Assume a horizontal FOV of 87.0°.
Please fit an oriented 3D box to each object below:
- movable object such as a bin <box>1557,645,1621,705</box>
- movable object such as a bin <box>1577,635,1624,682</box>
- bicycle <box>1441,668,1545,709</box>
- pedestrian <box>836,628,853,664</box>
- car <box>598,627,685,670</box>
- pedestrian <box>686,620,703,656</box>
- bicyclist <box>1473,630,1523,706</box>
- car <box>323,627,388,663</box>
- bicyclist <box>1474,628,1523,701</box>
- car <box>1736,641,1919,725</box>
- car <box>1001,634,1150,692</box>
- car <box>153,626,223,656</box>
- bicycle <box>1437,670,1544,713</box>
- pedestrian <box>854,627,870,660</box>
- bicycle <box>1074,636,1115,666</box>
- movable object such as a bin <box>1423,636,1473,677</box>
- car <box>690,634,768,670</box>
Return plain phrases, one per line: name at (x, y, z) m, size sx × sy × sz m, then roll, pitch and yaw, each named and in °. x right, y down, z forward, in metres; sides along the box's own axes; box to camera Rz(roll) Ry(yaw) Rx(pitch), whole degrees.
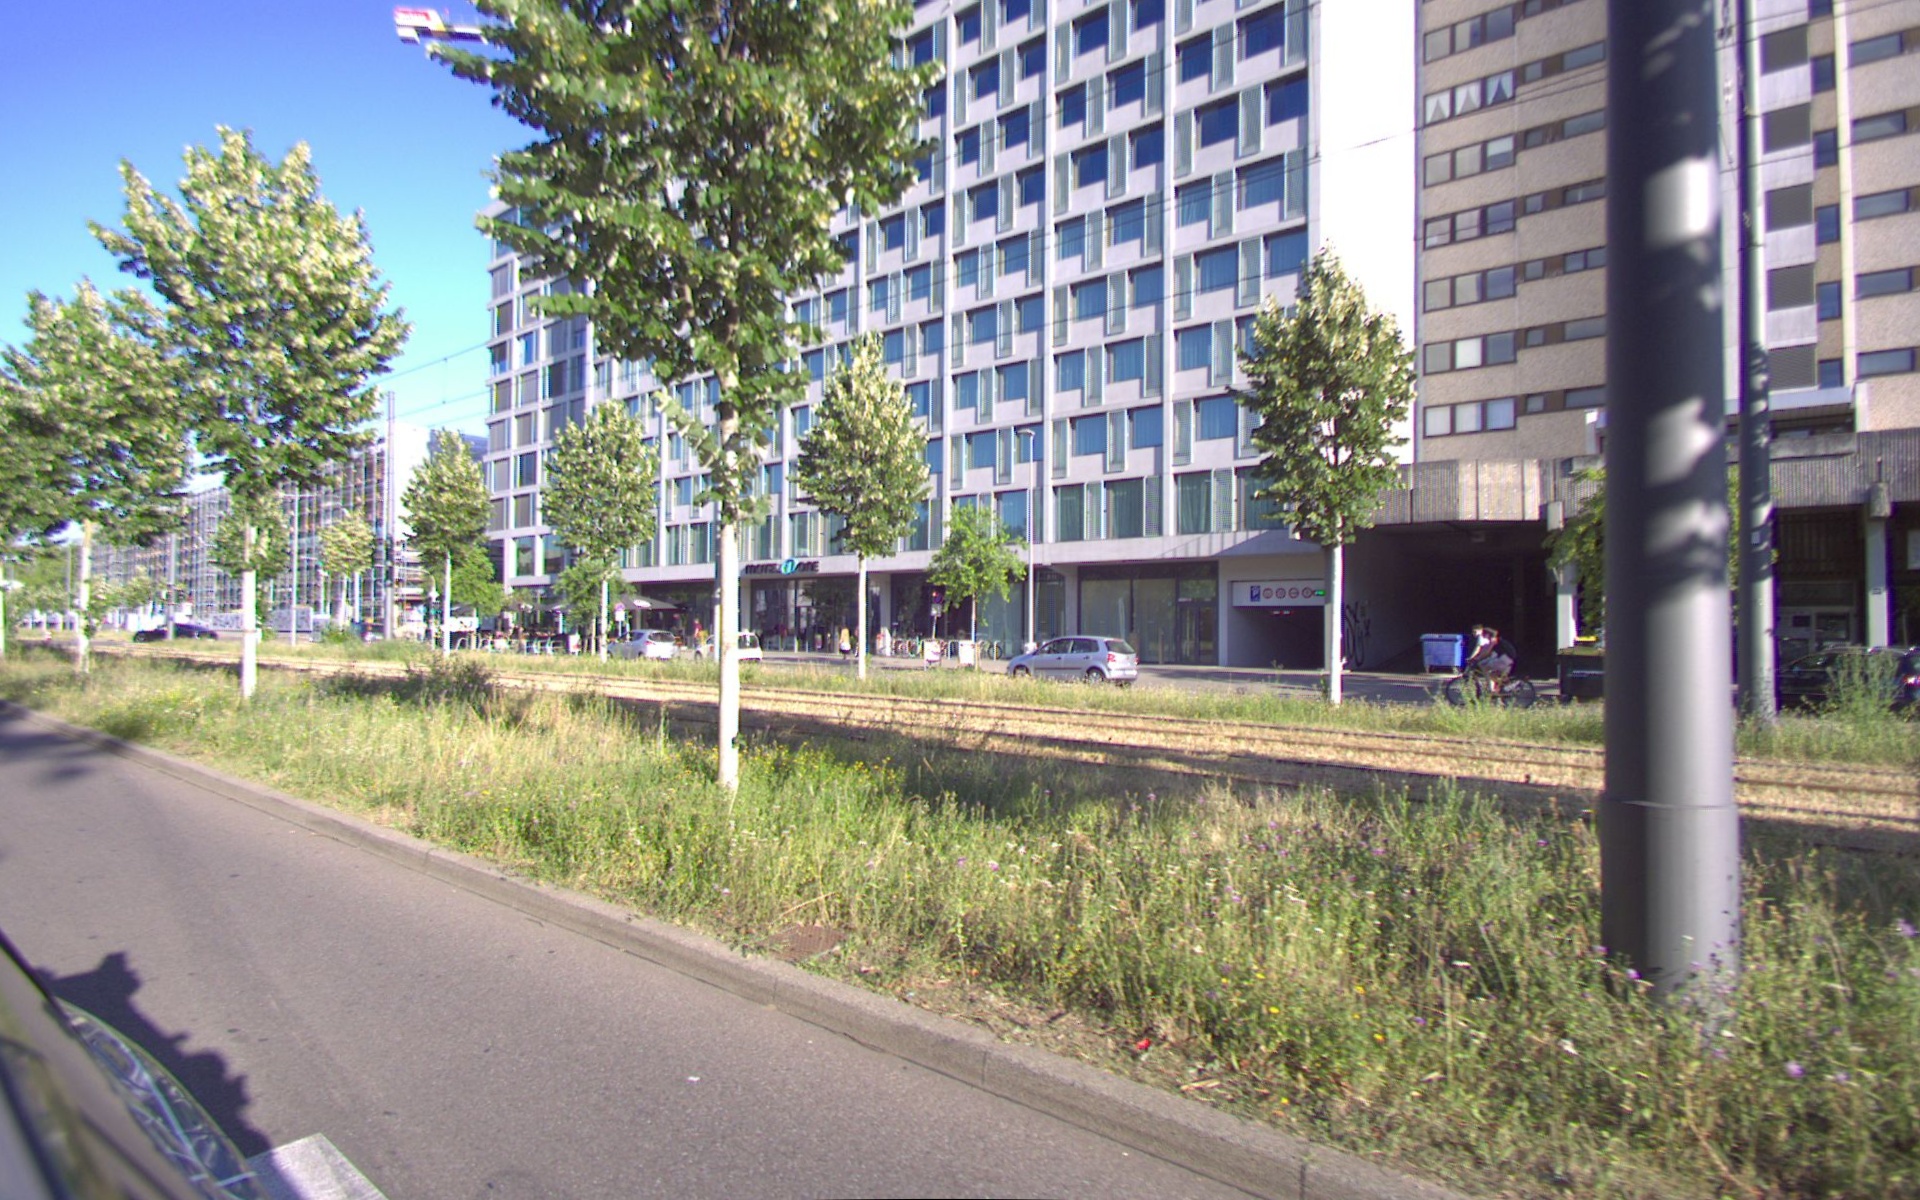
movable object such as a bin at (15.260, 1.783, 24.533) m, size 1.170 × 1.382 × 1.372 m, roll -1°, pitch -3°, yaw 38°
movable object such as a bin at (19.495, 1.765, 30.794) m, size 1.089 × 1.382 × 1.107 m, roll -1°, pitch -3°, yaw 38°
bicycle at (12.501, 2.069, 23.784) m, size 2.100 × 0.869 × 0.432 m, roll -1°, pitch -3°, yaw 38°
pedestrian at (-5.455, 2.168, 47.810) m, size 0.597 × 1.648 × 0.473 m, roll -1°, pitch -3°, yaw 40°
car at (-13.130, 1.940, 41.664) m, size 3.480 × 1.603 × 1.851 m, roll -1°, pitch 0°, yaw 40°
pedestrian at (-15.121, 2.177, 57.626) m, size 0.725 × 2.029 × 0.614 m, roll -1°, pitch -3°, yaw 40°
bicyclist at (12.105, 1.508, 22.773) m, size 0.918 × 1.669 × 0.532 m, roll -1°, pitch -3°, yaw 38°
car at (-32.176, 2.369, 53.833) m, size 3.790 × 1.765 × 1.851 m, roll -1°, pitch 0°, yaw 40°
bicyclist at (12.632, 1.502, 23.740) m, size 0.918 × 1.669 × 0.532 m, roll -1°, pitch -3°, yaw 38°
car at (19.496, 1.718, 21.886) m, size 1.596 × 1.455 × 4.553 m, roll -1°, pitch 0°, yaw -6°
car at (3.157, 1.691, 28.044) m, size 3.876 × 1.388 × 1.593 m, roll -1°, pitch 0°, yaw 40°
car at (-47.562, 2.506, 62.344) m, size 3.768 × 1.765 × 1.861 m, roll -1°, pitch 0°, yaw 23°
bicycle at (11.953, 2.040, 22.842) m, size 2.100 × 0.869 × 0.432 m, roll -1°, pitch -3°, yaw 38°
pedestrian at (-4.883, 2.176, 50.470) m, size 0.597 × 1.648 × 0.473 m, roll -1°, pitch -3°, yaw 40°
bicycle at (5.638, 2.131, 42.392) m, size 1.713 × 1.239 × 0.390 m, roll -1°, pitch -2°, yaw 31°
movable object such as a bin at (16.281, 1.872, 33.785) m, size 1.232 × 1.344 × 1.372 m, roll -1°, pitch -3°, yaw 38°
car at (-10.656, 2.350, 46.574) m, size 3.387 × 1.477 × 1.851 m, roll -1°, pitch 0°, yaw 40°
